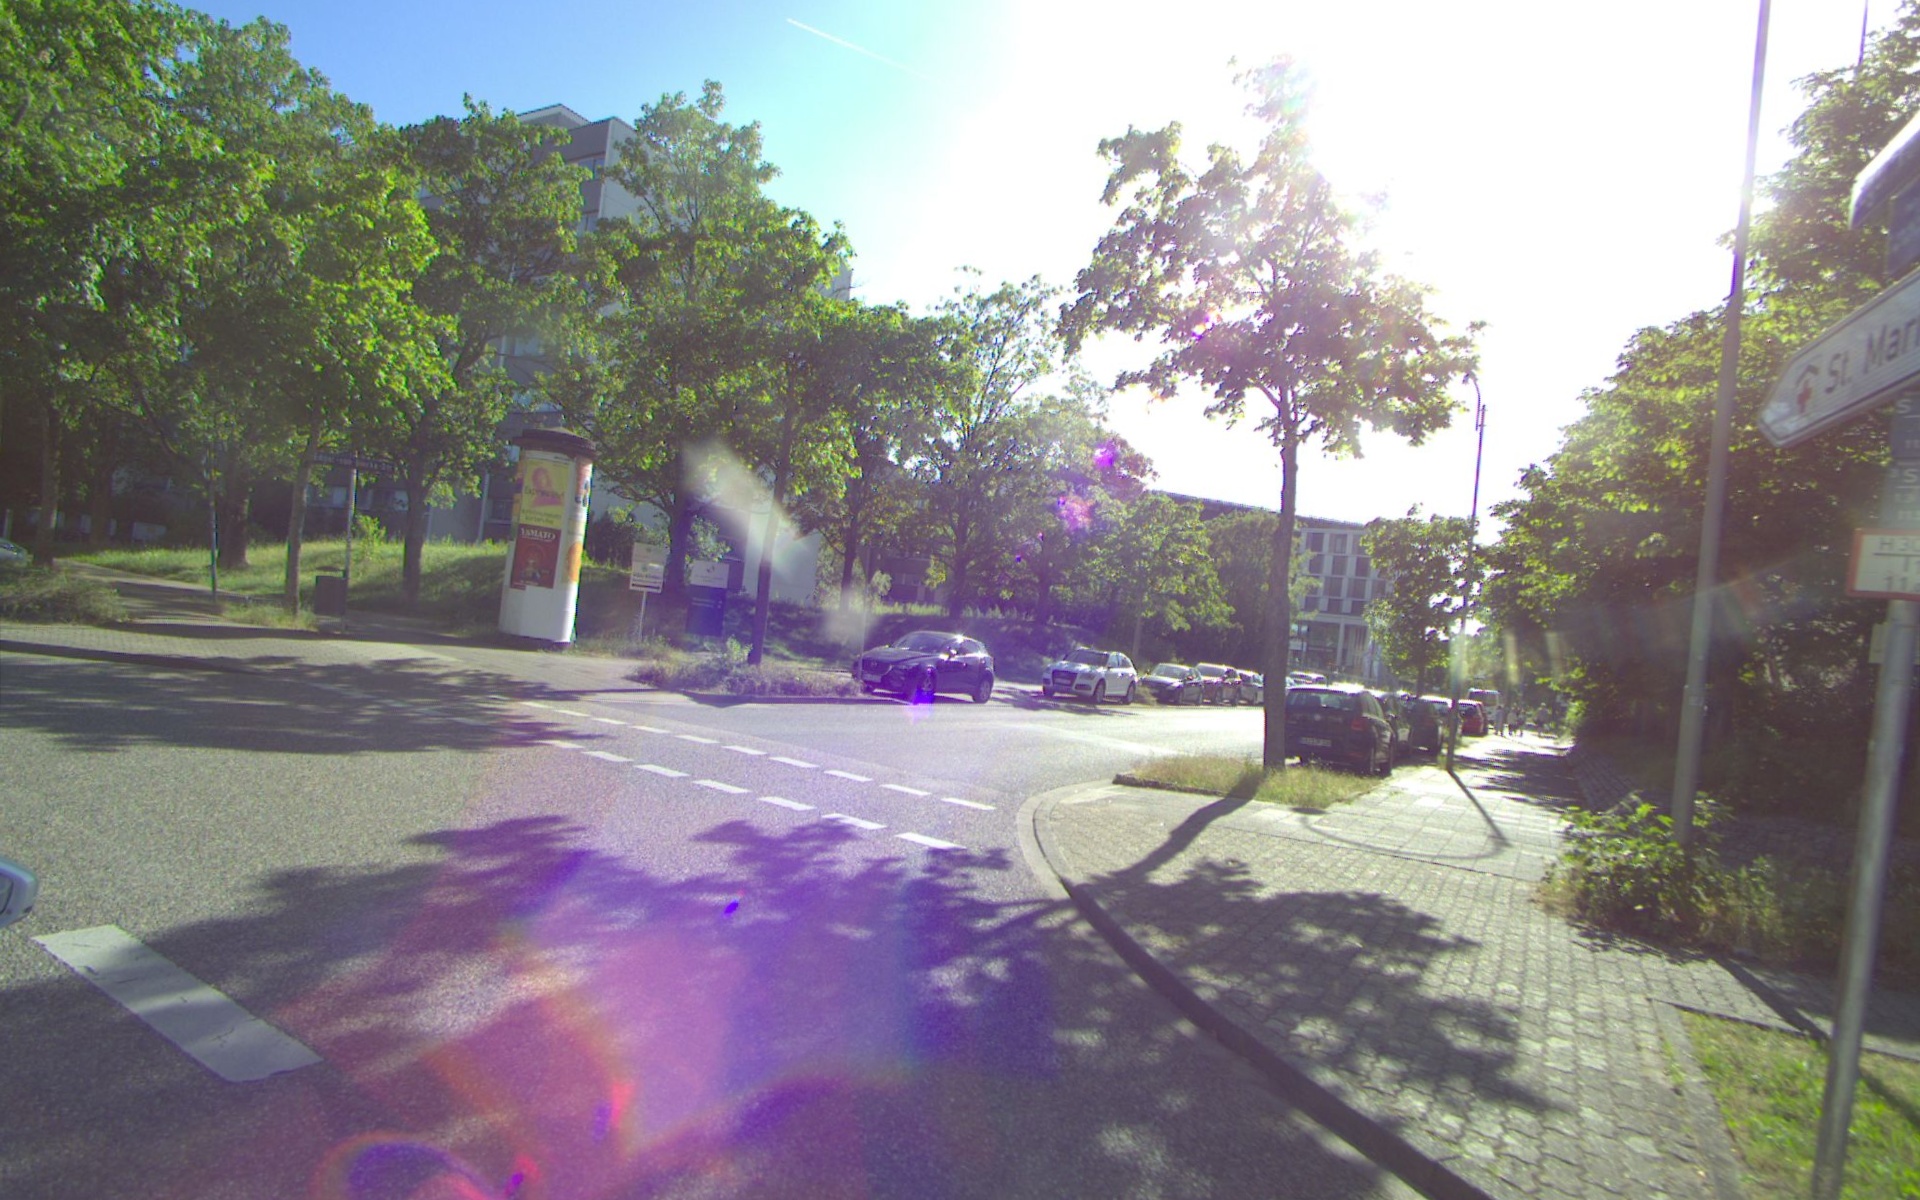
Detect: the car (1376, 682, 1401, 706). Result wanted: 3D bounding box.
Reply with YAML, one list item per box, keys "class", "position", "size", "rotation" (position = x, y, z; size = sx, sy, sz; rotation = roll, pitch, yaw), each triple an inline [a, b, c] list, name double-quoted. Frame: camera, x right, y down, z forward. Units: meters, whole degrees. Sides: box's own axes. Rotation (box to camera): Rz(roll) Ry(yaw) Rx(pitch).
- class: "car"
  position: [40.378, 8.896, 94.747]
  size: [1.648, 1.955, 3.769]
  rotation: [6, -3, 29]

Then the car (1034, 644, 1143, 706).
- class: "car"
  position: [4.202, 2.466, 32.336]
  size: [1.804, 1.637, 4.456]
  rotation: [6, -3, 29]

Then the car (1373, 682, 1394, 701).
- class: "car"
  position: [50.712, 10.945, 120.375]
  size: [1.964, 2.036, 4.001]
  rotation: [6, -3, 25]

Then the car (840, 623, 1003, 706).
- class: "car"
  position: [-0.784, 1.538, 23.214]
  size: [1.804, 1.548, 3.996]
  rotation: [6, -2, 29]

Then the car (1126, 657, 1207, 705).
- class: "car"
  position: [8.078, 3.174, 39.113]
  size: [1.804, 1.518, 4.016]
  rotation: [6, -3, 29]

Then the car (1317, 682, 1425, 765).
- class: "car"
  position: [9.251, 2.730, 22.473]
  size: [1.623, 1.486, 3.853]
  rotation: [6, -3, 30]

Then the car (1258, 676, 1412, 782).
- class: "car"
  position: [6.719, 2.245, 17.768]
  size: [1.741, 1.464, 3.995]
  rotation: [5, -3, 31]

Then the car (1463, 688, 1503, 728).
- class: "car"
  position: [33.055, 6.798, 63.569]
  size: [1.965, 2.205, 3.998]
  rotation: [6, -3, 28]

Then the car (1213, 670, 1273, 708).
- class: "car"
  position: [13.821, 4.356, 48.972]
  size: [1.804, 1.493, 4.016]
  rotation: [6, -3, 29]

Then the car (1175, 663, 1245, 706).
- class: "car"
  position: [10.932, 3.716, 43.796]
  size: [1.804, 1.561, 4.016]
  rotation: [6, -3, 29]

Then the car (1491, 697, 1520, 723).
- class: "car"
  position: [46.984, 9.449, 86.562]
  size: [1.966, 1.894, 3.996]
  rotation: [6, -3, 30]

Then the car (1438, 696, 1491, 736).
- class: "car"
  position: [22.016, 5.062, 43.820]
  size: [1.738, 1.440, 3.870]
  rotation: [6, -3, 30]

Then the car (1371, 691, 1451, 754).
- class: "car"
  position: [11.870, 3.188, 26.378]
  size: [1.526, 1.320, 3.501]
  rotation: [6, -3, 29]

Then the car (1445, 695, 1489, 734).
- class: "car"
  position: [24.284, 5.457, 48.119]
  size: [1.618, 1.570, 3.998]
  rotation: [6, -3, 29]

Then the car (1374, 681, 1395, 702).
- class: "car"
  position: [47.612, 10.260, 112.791]
  size: [1.964, 2.036, 4.001]
  rotation: [6, -3, 25]

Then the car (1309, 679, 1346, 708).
- class: "car"
  position: [25.495, 6.494, 69.708]
  size: [1.648, 1.722, 3.769]
  rotation: [6, -3, 29]

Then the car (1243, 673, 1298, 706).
- class: "car"
  position: [16.692, 4.838, 53.976]
  size: [1.889, 1.462, 3.997]
  rotation: [6, -3, 30]

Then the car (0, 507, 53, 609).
- class: "car"
  position: [-16.935, -0.838, 15.165]
  size: [1.805, 1.613, 4.433]
  rotation: [6, 0, 28]

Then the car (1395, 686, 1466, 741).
- class: "car"
  position: [15.876, 3.812, 33.829]
  size: [1.682, 1.510, 3.767]
  rotation: [6, -3, 31]

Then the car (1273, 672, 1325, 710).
- class: "car"
  position: [19.788, 5.327, 58.612]
  size: [1.966, 1.820, 4.447]
  rotation: [6, -3, 30]

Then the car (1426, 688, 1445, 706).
- class: "car"
  position: [62.242, 12.733, 131.638]
  size: [1.964, 2.036, 4.001]
  rotation: [6, -3, 25]
